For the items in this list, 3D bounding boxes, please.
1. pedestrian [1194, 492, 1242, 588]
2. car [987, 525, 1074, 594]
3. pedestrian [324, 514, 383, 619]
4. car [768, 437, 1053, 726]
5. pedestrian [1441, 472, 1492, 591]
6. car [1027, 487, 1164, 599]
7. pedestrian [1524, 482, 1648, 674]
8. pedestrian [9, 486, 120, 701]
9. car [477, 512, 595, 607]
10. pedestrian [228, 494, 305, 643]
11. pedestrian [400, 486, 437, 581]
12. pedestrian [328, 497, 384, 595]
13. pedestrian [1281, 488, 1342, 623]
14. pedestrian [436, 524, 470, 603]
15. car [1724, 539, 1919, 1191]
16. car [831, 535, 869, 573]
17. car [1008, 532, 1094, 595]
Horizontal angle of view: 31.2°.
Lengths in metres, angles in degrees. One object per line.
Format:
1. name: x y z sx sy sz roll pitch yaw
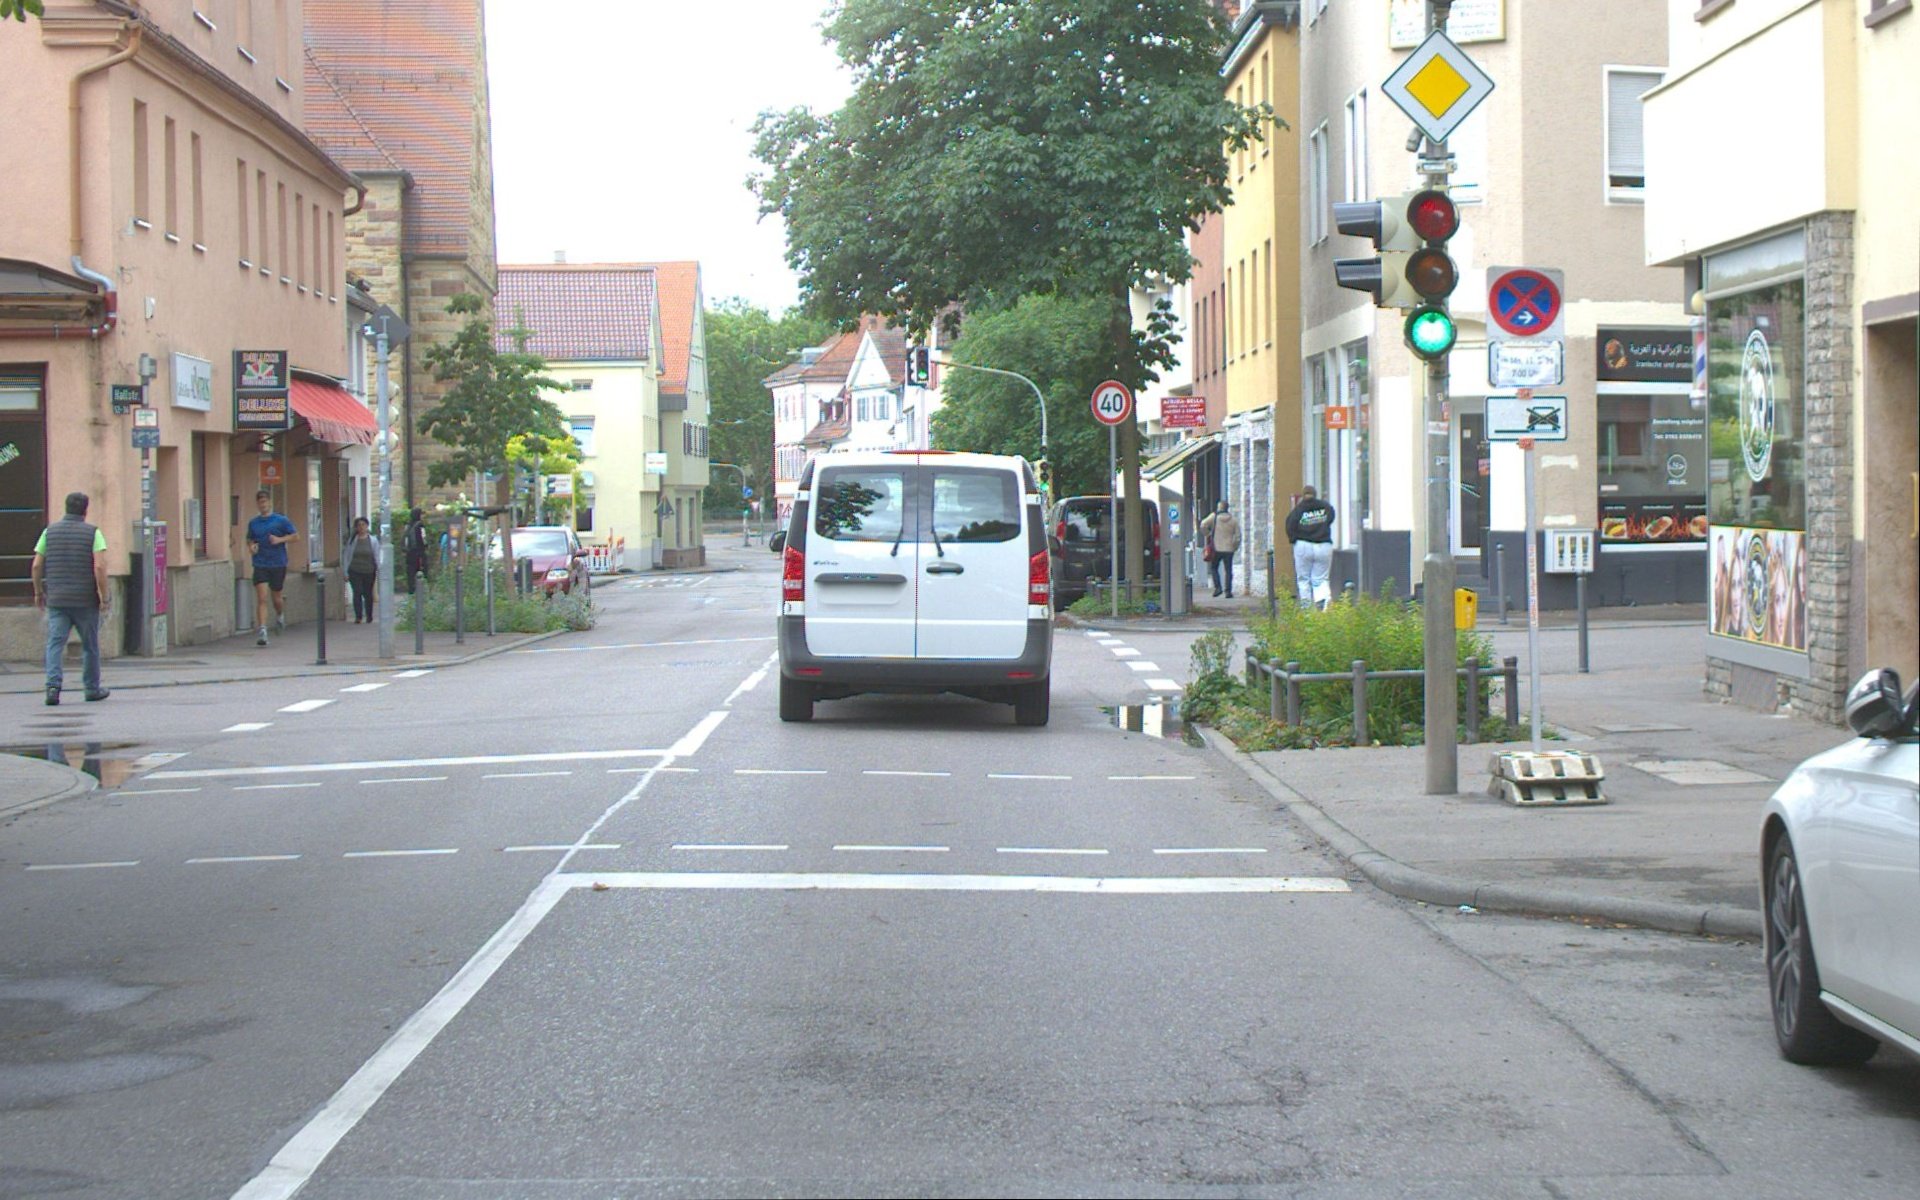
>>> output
1. pedestrian: 4.499 -1.048 59.989 0.701 1.643 0.889 -2 1 -2
2. car: 1.594 -0.932 78.643 1.711 1.555 3.786 0 1 -3
3. pedestrian: -8.921 -0.503 50.617 0.738 1.529 0.983 0 1 -3
4. car: -0.365 -0.162 24.767 1.872 1.905 4.000 0 1 -1
5. pedestrian: 6.649 -0.896 45.118 0.567 1.555 0.521 0 0 -1
6. car: 2.186 -0.930 56.528 1.819 1.775 4.404 0 1 -3
7. pedestrian: 5.492 -0.197 30.162 0.674 1.658 0.800 -2 1 -37
8. pedestrian: -7.384 -0.065 28.380 0.738 1.748 0.983 0 1 -6
9. car: -7.579 -0.760 61.742 1.702 1.568 4.451 -2 2 -3
10. pedestrian: -8.096 -0.374 40.181 0.738 1.712 1.157 0 1 -4
11. pedestrian: -10.774 -1.325 68.410 0.571 1.842 0.697 3 1 -1
12. pedestrian: -10.125 -0.906 57.655 0.730 1.623 0.759 -1 1 -25
13. pedestrian: 4.333 -0.557 42.395 0.614 1.647 0.983 0 1 -2
14. pedestrian: -10.045 -0.719 68.103 0.571 1.549 0.697 1 1 -1
15. car: 3.061 0.608 7.783 1.767 1.461 4.783 0 1 2
16. car: -5.939 -2.486 185.431 1.934 2.007 4.001 0 1 -3
17. car: 1.930 -0.799 74.054 1.551 1.328 3.813 0 1 -3
